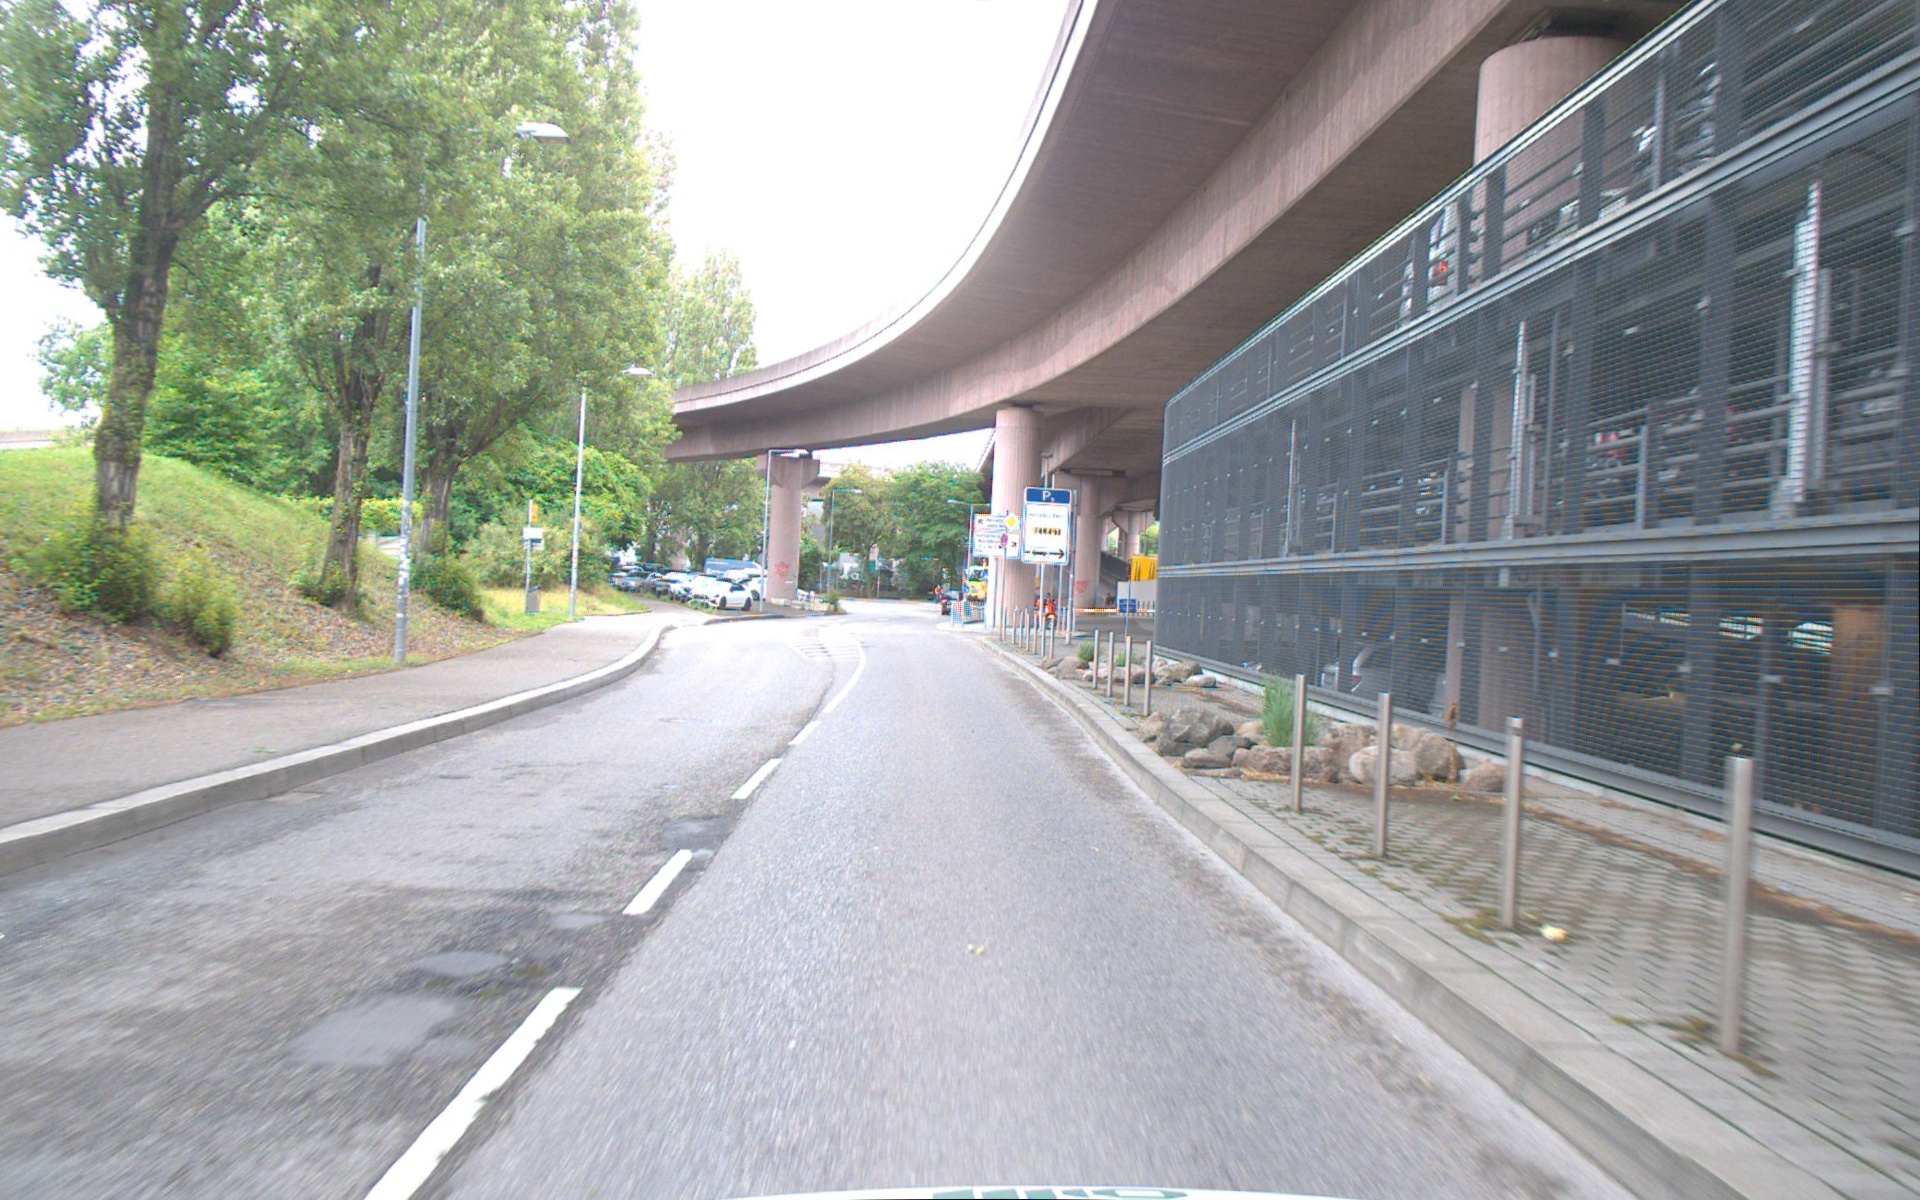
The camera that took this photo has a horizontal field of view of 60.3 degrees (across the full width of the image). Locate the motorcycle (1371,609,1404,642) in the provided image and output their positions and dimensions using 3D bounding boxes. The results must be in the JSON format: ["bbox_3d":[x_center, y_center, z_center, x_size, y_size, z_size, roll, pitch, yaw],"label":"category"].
[{"bbox_3d":[17.467,1.016,67.603,0.560,1.124,2.329,2,4,-4],"label":"motorcycle"}]

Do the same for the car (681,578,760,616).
[{"bbox_3d":[-12.353,-0.140,85.622,1.953,1.505,4.829,6,-1,19],"label":"car"}]

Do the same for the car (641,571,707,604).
[{"bbox_3d":[-16.537,-0.707,95.783,1.819,1.720,4.163,3,0,22],"label":"car"}]

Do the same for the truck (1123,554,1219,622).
[{"bbox_3d":[16.564,-0.881,129.536,3.091,5.003,8.669,2,0,40],"label":"truck"}]

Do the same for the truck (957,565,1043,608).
[{"bbox_3d":[3.636,-1.299,148.214,2.886,3.540,8.195,6,5,42],"label":"truck"}]

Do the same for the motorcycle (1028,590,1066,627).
[{"bbox_3d":[3.426,0.323,65.426,0.783,1.390,2.119,1,1,-18],"label":"motorcycle"}]

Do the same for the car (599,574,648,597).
[{"bbox_3d":[-22.017,-0.919,108.310,1.609,1.466,3.737,1,0,16],"label":"car"}]

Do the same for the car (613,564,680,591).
[{"bbox_3d":[-20.011,-1.410,105.800,1.820,1.513,4.888,5,2,22],"label":"car"}]

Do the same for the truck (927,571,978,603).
[{"bbox_3d":[-0.801,-1.303,166.540,2.875,2.949,6.516,1,2,-22],"label":"truck"}]

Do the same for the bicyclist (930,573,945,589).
[{"bbox_3d":[-1.962,-1.640,144.134,0.788,1.430,1.055,1,0,-32],"label":"bicyclist"}]

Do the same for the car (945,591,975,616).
[{"bbox_3d":[-0.032,0.240,120.052,1.954,1.708,4.558,3,0,-2],"label":"car"}]

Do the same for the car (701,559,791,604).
[{"bbox_3d":[-15.326,-1.324,118.838,6.050,2.772,2.368,4,0,-1],"label":"car"}]

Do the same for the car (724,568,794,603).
[{"bbox_3d":[-14.077,-1.025,115.943,4.460,2.147,1.852,4,0,7],"label":"car"}]

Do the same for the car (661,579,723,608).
[{"bbox_3d":[-15.053,-0.372,93.022,1.750,1.479,3.746,3,0,22],"label":"car"}]

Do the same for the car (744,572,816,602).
[{"bbox_3d":[-11.955,-0.832,110.154,4.288,1.633,1.956,5,1,11],"label":"car"}]

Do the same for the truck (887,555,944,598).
[{"bbox_3d":[-4.465,-2.366,165.007,3.023,3.934,7.996,1,2,-22],"label":"truck"}]

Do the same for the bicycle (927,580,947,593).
[{"bbox_3d":[-1.999,-1.201,144.183,0.794,1.117,2.108,1,0,-32],"label":"bicycle"}]

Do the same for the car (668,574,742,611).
[{"bbox_3d":[-13.763,-0.398,89.538,1.954,1.609,4.401,7,0,19],"label":"car"}]

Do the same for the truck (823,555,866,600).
[{"bbox_3d":[-13.257,-2.601,188.907,3.152,4.862,8.012,1,2,-17],"label":"truck"}]

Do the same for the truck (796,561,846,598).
[{"bbox_3d":[-15.599,-2.314,185.184,3.015,3.681,7.858,2,2,-24],"label":"truck"}]
